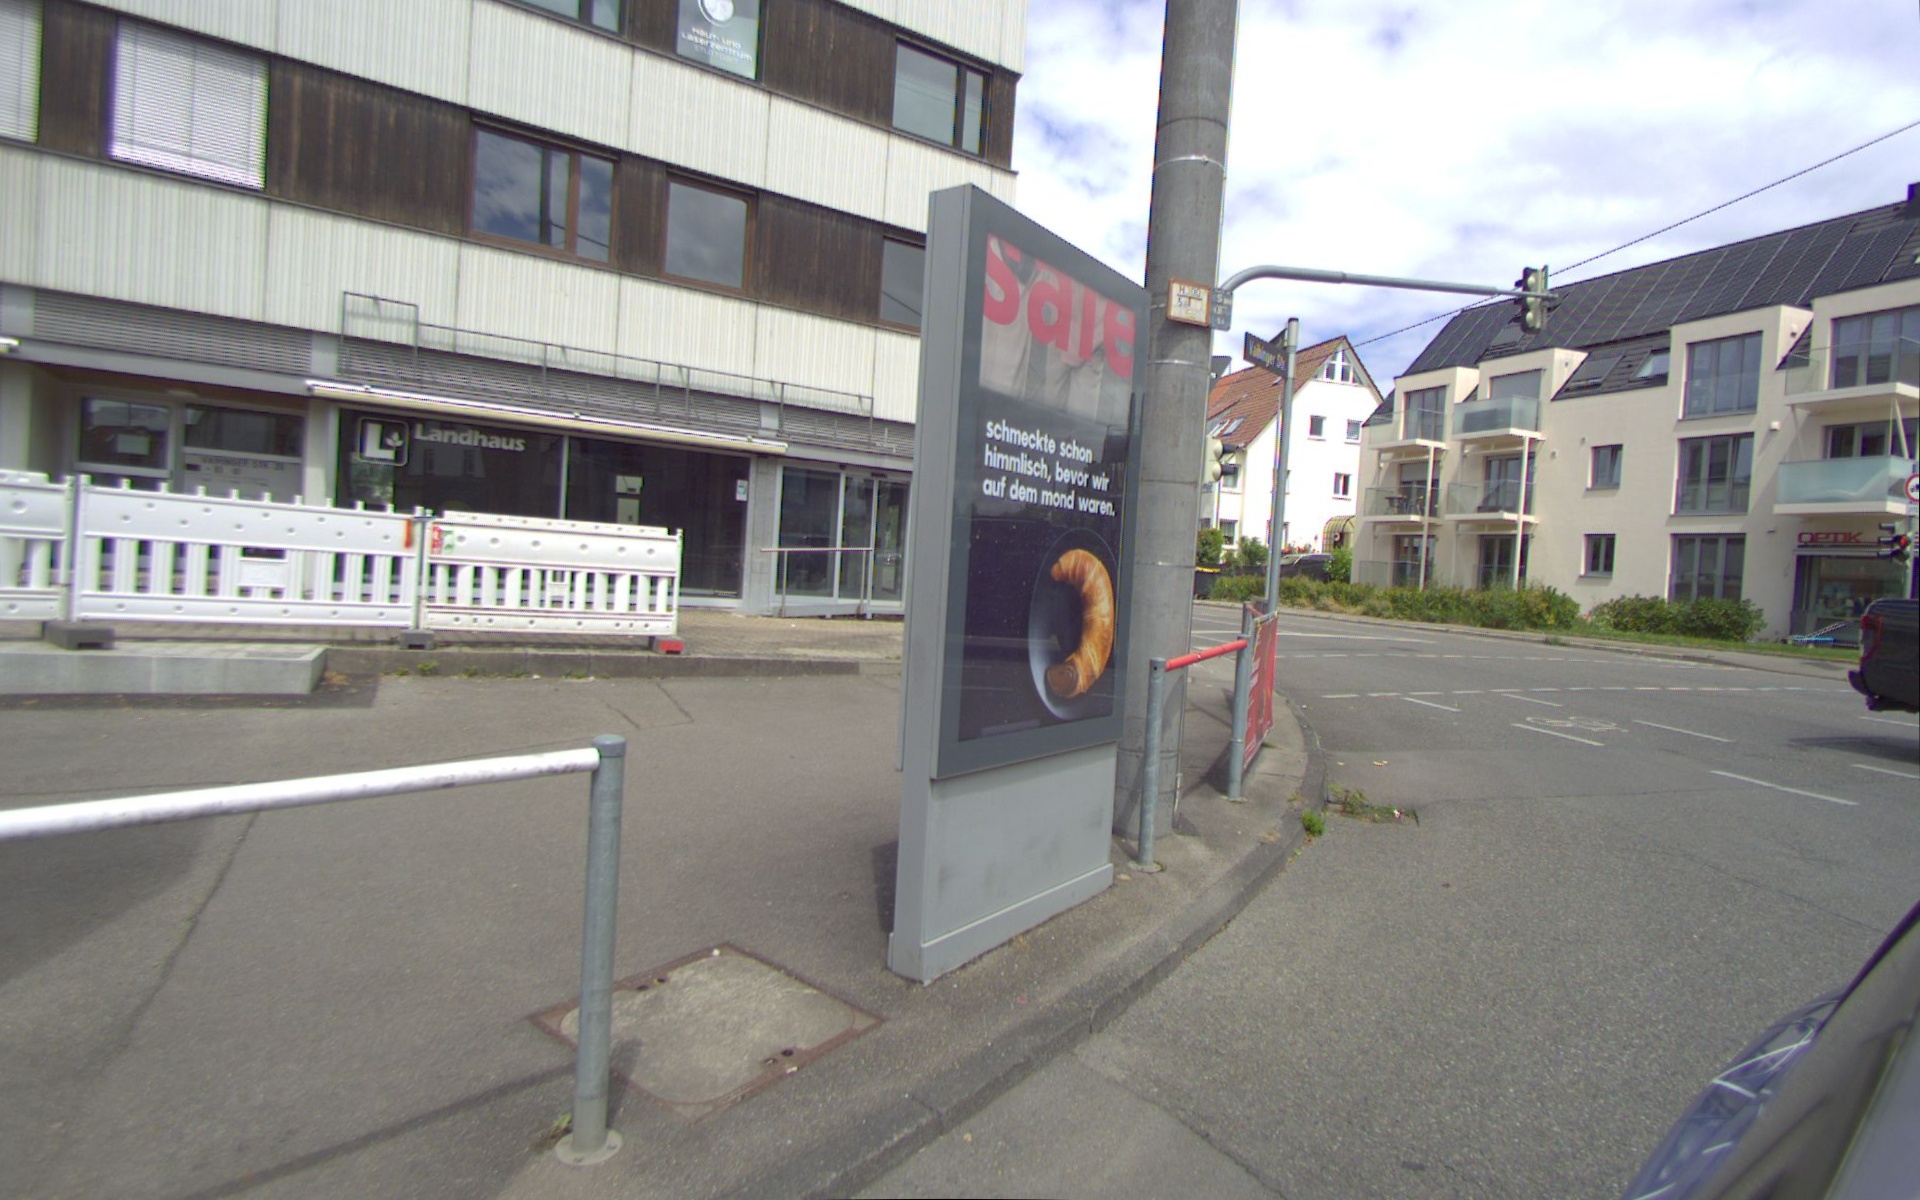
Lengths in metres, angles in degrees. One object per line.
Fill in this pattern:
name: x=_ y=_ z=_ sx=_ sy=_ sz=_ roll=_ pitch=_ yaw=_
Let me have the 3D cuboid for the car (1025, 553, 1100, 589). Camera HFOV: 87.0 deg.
car: x=4.892 y=-1.444 z=48.869 sx=1.781 sy=1.519 sz=4.465 roll=2 pitch=3 yaw=-20

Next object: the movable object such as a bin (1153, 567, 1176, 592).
movable object such as a bin: x=9.119 y=-0.918 z=45.086 sx=0.748 sy=1.078 sz=0.694 roll=2 pitch=2 yaw=-10

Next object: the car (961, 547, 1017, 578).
car: x=1.669 y=-2.242 z=59.687 sx=1.958 sy=1.653 sz=4.248 roll=2 pitch=3 yaw=-17

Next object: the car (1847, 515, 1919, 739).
car: x=9.553 y=0.387 z=6.710 sx=1.848 sy=1.871 sz=5.235 roll=2 pitch=3 yaw=-17

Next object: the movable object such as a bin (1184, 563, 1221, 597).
movable object such as a bin: x=10.269 y=-0.844 z=42.890 sx=1.069 sy=1.379 sz=0.983 roll=2 pitch=2 yaw=-17

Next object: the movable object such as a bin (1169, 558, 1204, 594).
movable object such as a bin: x=9.913 y=-1.047 z=44.228 sx=1.069 sy=1.464 sz=0.983 roll=2 pitch=2 yaw=-17

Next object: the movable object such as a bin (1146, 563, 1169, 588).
movable object such as a bin: x=8.935 y=-1.105 z=45.750 sx=0.748 sy=1.078 sz=0.694 roll=2 pitch=2 yaw=-10

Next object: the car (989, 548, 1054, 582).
car: x=3.260 y=-1.919 z=54.513 sx=1.958 sy=1.653 sz=4.465 roll=2 pitch=3 yaw=-17

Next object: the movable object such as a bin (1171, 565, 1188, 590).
movable object such as a bin: x=9.789 y=-0.988 z=45.128 sx=0.520 sy=1.078 sz=0.648 roll=4 pitch=3 yaw=34
